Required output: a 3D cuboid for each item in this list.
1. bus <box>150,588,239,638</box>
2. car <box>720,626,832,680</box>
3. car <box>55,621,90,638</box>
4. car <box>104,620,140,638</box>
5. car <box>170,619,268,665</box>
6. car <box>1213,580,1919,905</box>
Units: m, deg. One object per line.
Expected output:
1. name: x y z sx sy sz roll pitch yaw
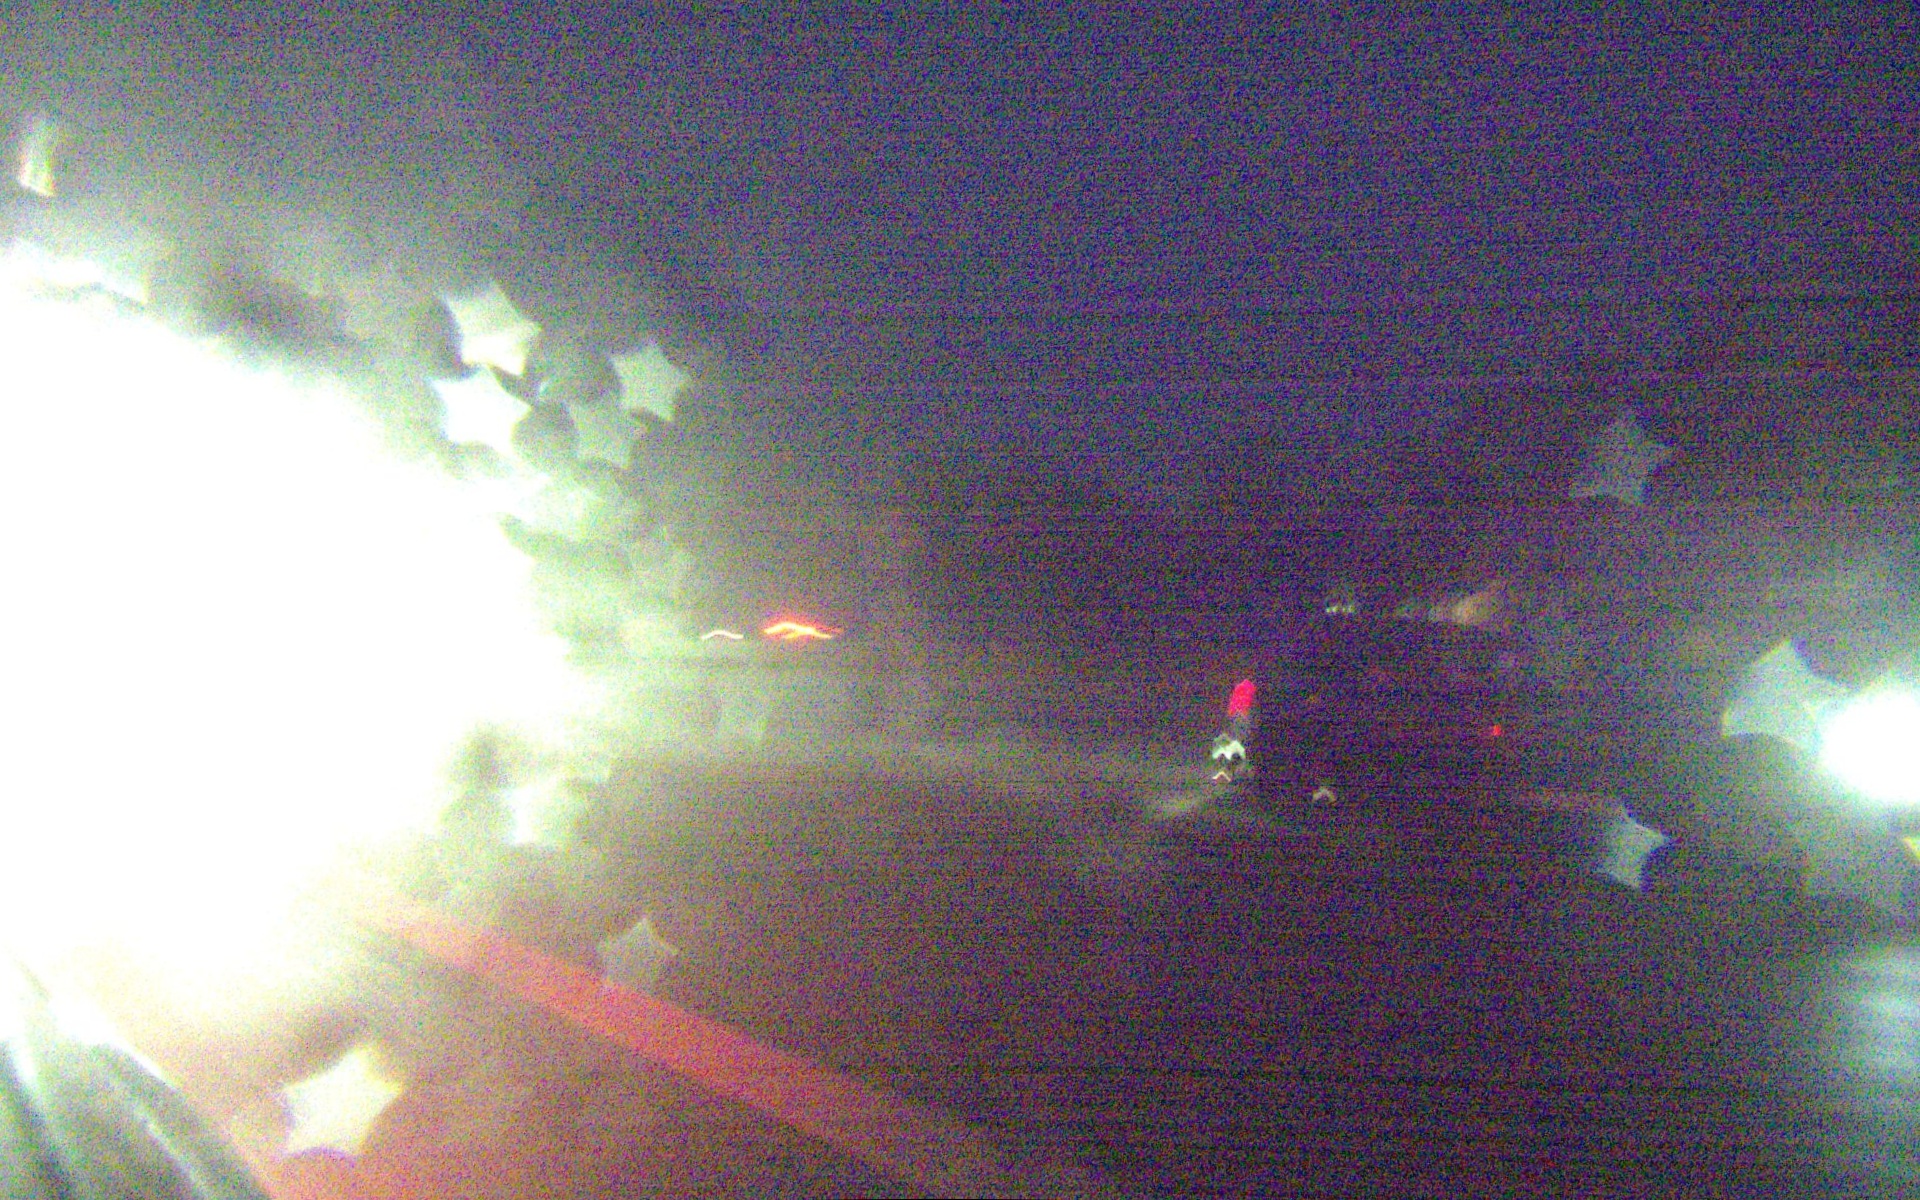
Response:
1. bus: -74.600 1.294 98.373 16.997 4.524 3.044 -1 0 40
2. car: -6.820 1.897 37.372 3.993 1.821 1.886 -1 0 37
3. car: -88.871 2.930 101.340 4.455 1.569 1.861 -1 0 39
4. car: -79.994 2.761 96.584 4.455 1.569 1.861 -1 0 39
5. car: -27.760 1.529 37.861 4.585 1.572 1.973 -1 0 41
6. car: 3.851 0.646 6.208 3.997 1.452 1.973 -1 0 40
